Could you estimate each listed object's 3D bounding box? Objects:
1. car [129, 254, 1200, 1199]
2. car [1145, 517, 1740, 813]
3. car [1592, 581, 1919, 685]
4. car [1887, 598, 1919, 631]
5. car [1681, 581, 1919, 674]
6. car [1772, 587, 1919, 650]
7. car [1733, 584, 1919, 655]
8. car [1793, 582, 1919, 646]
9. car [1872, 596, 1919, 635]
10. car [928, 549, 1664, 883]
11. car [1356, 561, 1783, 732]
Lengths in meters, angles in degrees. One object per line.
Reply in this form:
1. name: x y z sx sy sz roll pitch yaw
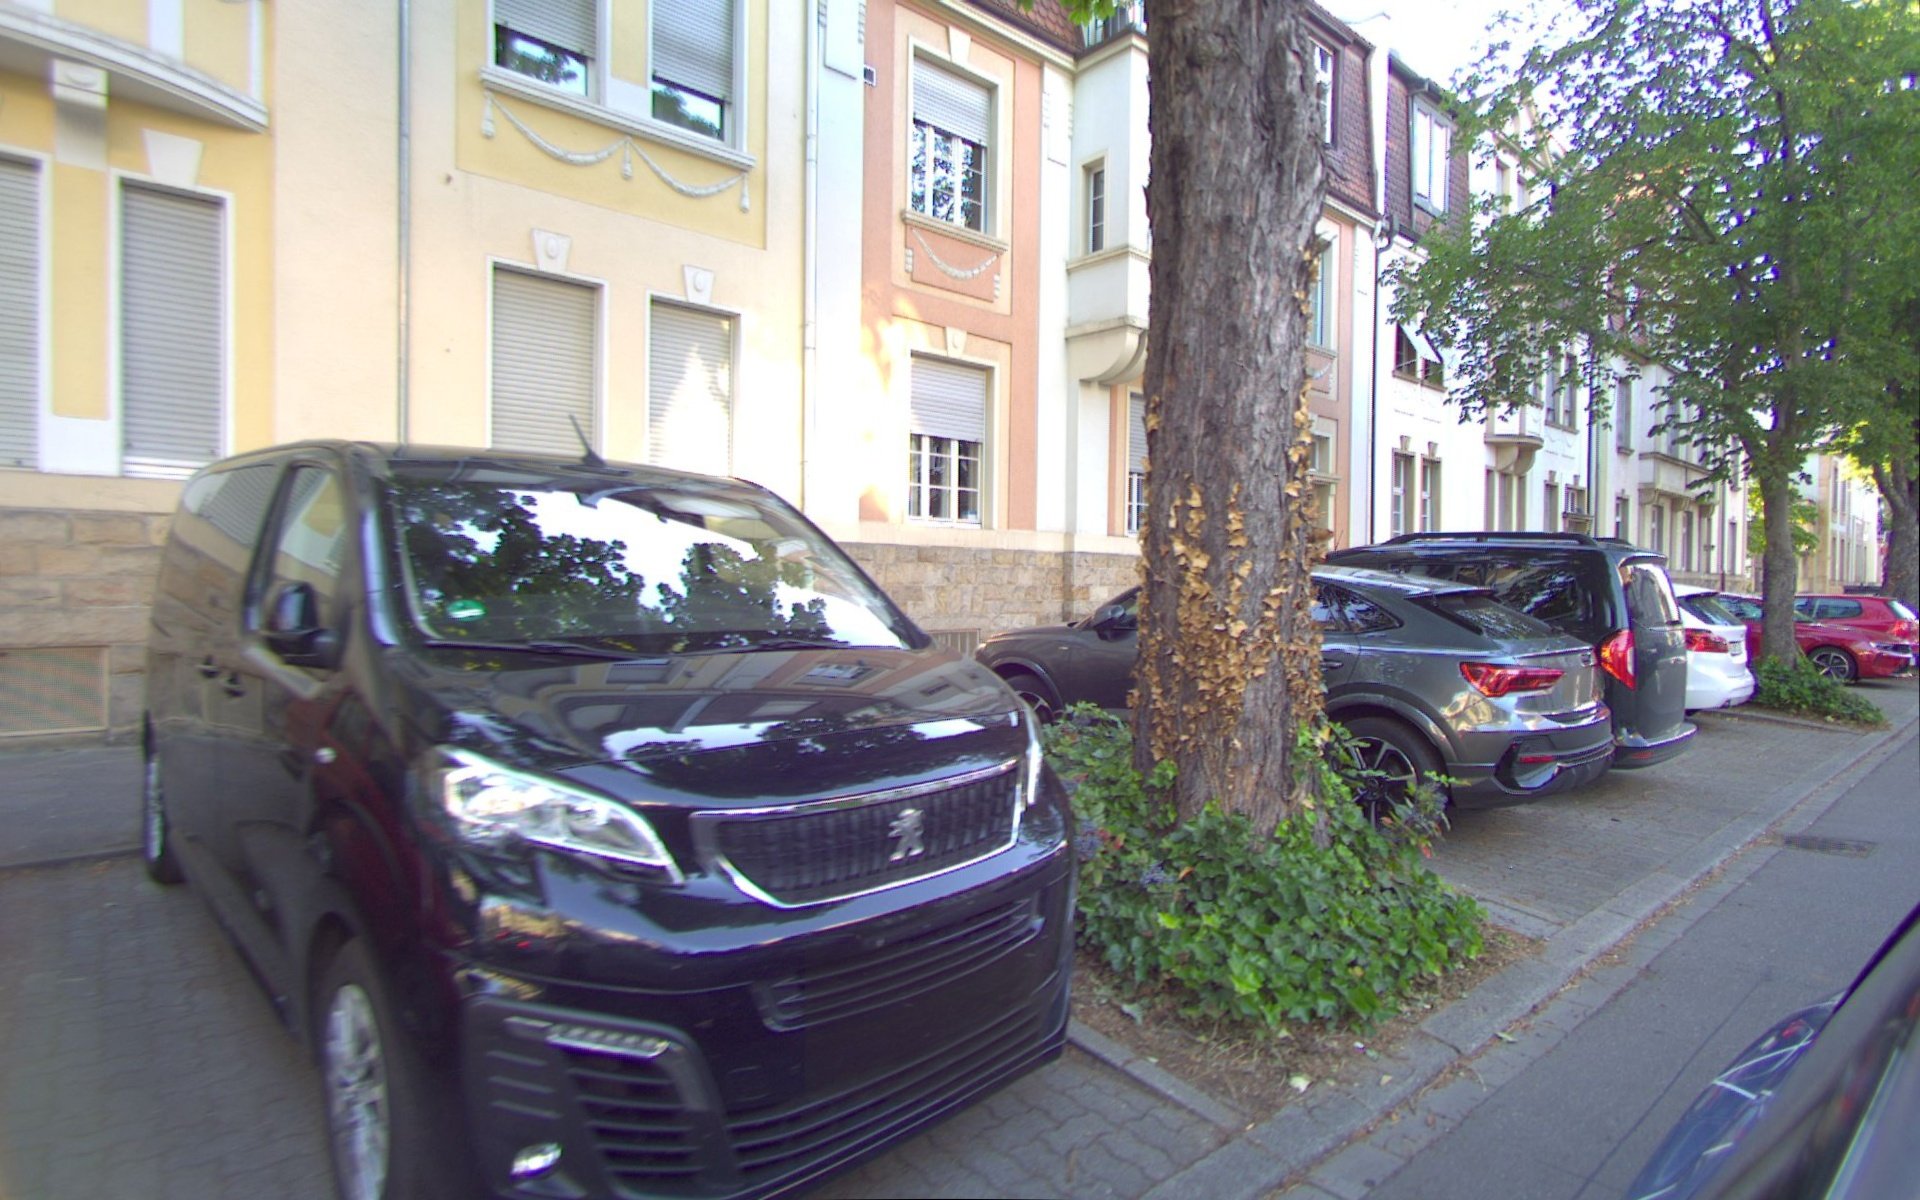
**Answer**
1. car: -1.678 0.343 3.824 1.867 1.897 4.753 -1 3 -44
2. car: 3.783 0.314 8.507 1.813 1.860 4.116 0 3 -42
3. car: 14.039 0.467 17.836 1.833 1.470 4.533 0 3 -38
4. car: 33.512 0.546 33.925 1.515 1.076 3.400 0 3 -39
5. car: 16.148 0.446 19.195 1.628 1.499 3.682 0 2 -38
6. car: 23.213 0.443 25.764 1.548 1.416 3.681 0 3 -39
7. car: 21.100 0.411 24.355 1.548 1.484 3.681 0 3 -39
8. car: 25.115 0.363 27.418 1.548 1.576 3.681 0 3 -39
9. car: 31.134 0.536 31.859 1.515 1.164 3.400 0 3 -39
10. car: 1.975 0.460 7.027 1.815 1.542 4.513 0 3 -44
11. car: 6.964 0.392 11.890 1.689 1.597 3.948 0 3 -41
